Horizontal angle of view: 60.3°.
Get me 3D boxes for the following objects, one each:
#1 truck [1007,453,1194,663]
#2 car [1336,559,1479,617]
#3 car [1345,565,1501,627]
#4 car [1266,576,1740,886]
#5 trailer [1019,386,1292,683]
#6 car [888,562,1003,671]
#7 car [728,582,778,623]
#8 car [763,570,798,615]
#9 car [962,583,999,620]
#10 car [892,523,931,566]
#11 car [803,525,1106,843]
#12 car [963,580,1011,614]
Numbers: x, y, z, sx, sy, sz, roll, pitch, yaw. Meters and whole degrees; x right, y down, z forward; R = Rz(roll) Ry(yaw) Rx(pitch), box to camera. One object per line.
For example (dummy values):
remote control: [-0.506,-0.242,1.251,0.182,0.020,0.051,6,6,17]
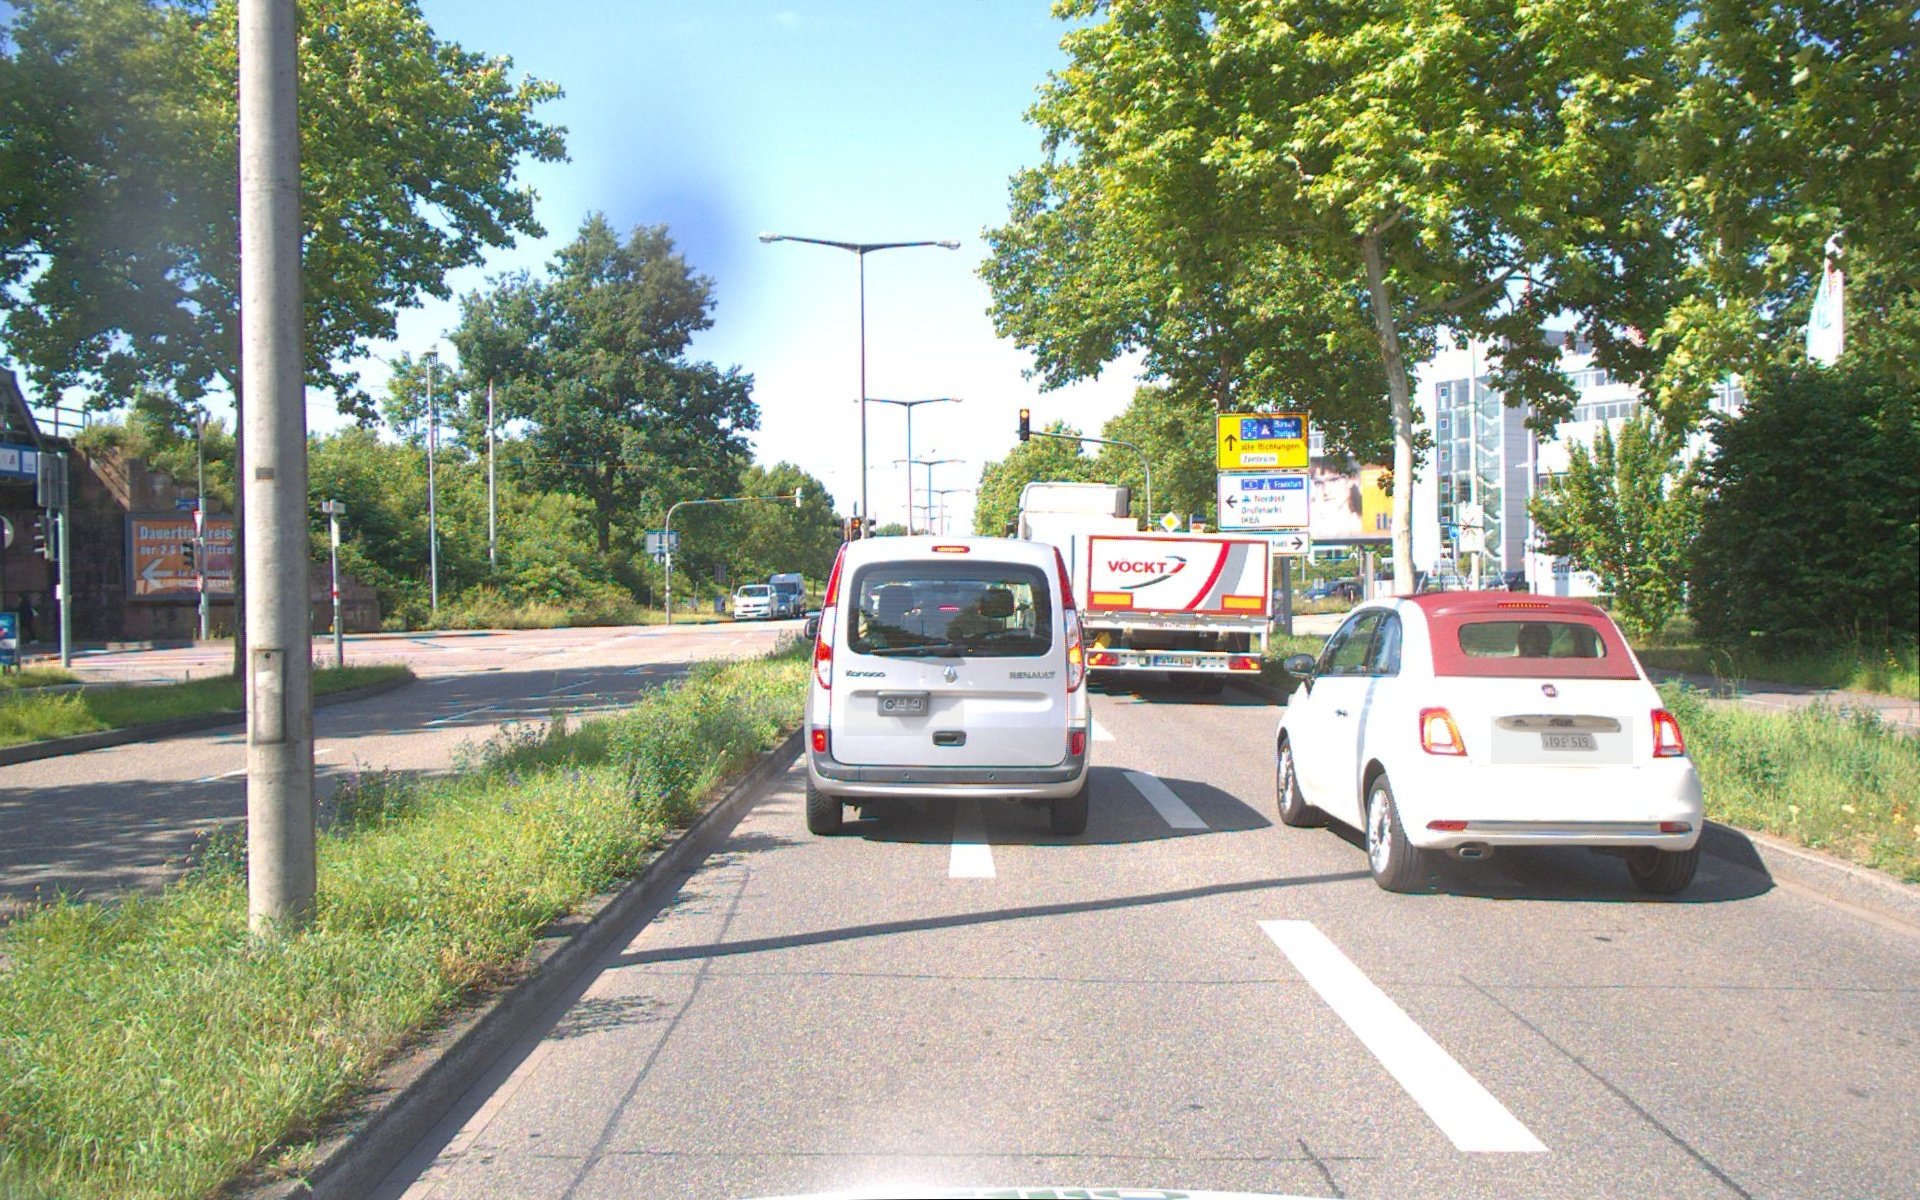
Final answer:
truck: [2.681,-0.780,34.020,3.009,3.823,7.474,0,0,-2]
car: [13.393,-0.371,49.652,3.903,1.691,1.724,0,0,4]
car: [12.825,-0.112,45.974,3.903,1.691,1.724,0,0,4]
car: [2.902,0.616,9.609,1.627,1.461,3.520,0,0,0]
trailer: [2.738,-0.867,27.403,2.954,3.806,12.238,0,0,-1]
car: [-0.316,0.250,28.060,1.773,1.713,3.998,0,0,-3]
car: [-10.649,0.119,85.393,1.953,1.924,4.986,-3,0,-2]
car: [-10.991,-0.435,101.152,2.019,2.659,5.861,0,0,-7]
car: [1.144,0.055,93.351,1.953,2.049,3.999,0,0,-1]
car: [-2.473,-2.789,83.517,1.681,2.049,3.995,0,0,-6]
car: [-0.070,0.470,11.360,1.714,1.803,3.948,0,0,-1]
car: [1.344,-0.158,83.747,1.955,1.668,3.995,0,0,-6]
